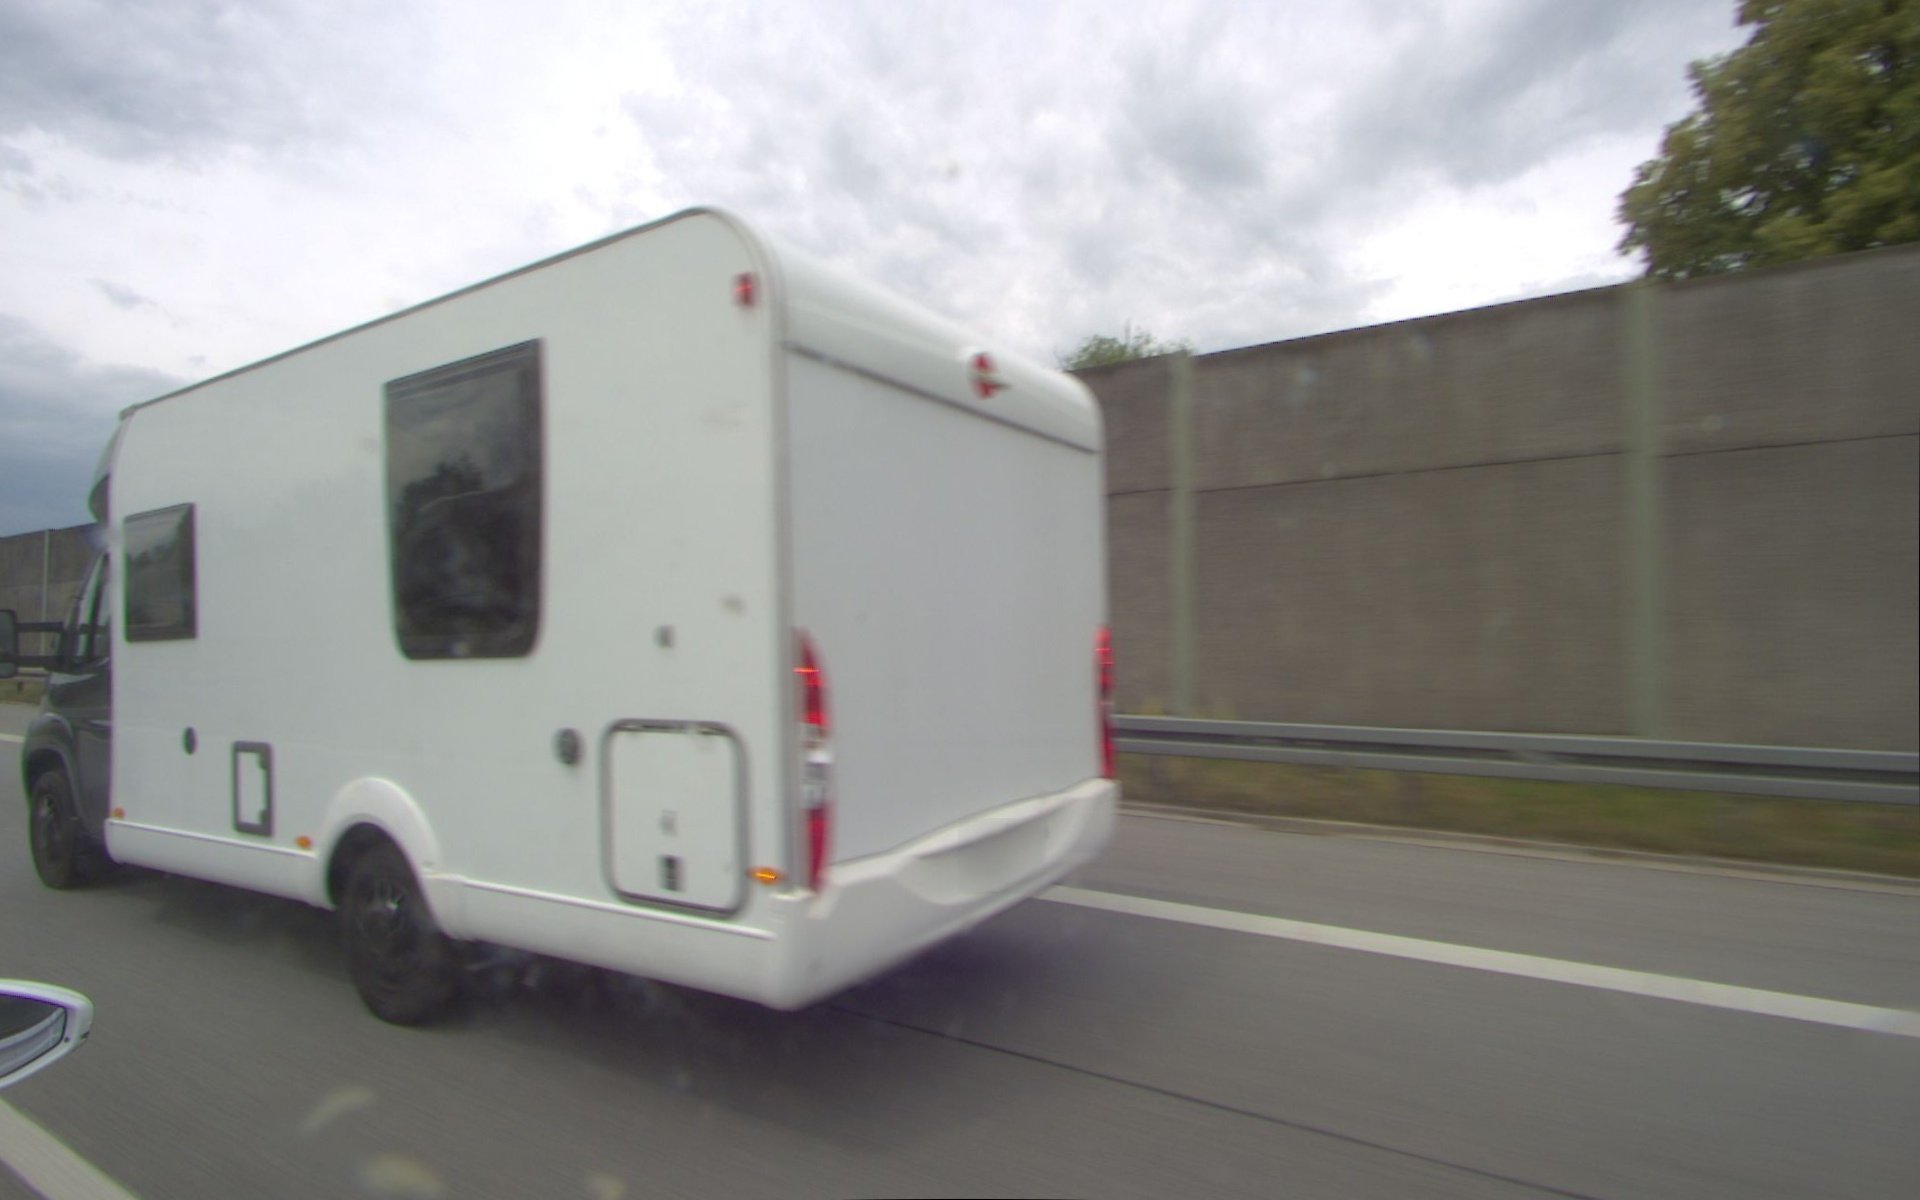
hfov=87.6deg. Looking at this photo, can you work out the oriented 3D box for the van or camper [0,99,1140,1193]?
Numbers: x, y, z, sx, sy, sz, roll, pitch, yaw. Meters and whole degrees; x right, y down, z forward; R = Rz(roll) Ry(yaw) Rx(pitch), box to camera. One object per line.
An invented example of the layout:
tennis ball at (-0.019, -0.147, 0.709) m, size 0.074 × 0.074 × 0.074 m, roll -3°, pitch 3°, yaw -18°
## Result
van or camper at (-2.823, 0.200, 5.426) m, size 7.121 × 2.731 × 2.426 m, roll -1°, pitch -2°, yaw 32°
